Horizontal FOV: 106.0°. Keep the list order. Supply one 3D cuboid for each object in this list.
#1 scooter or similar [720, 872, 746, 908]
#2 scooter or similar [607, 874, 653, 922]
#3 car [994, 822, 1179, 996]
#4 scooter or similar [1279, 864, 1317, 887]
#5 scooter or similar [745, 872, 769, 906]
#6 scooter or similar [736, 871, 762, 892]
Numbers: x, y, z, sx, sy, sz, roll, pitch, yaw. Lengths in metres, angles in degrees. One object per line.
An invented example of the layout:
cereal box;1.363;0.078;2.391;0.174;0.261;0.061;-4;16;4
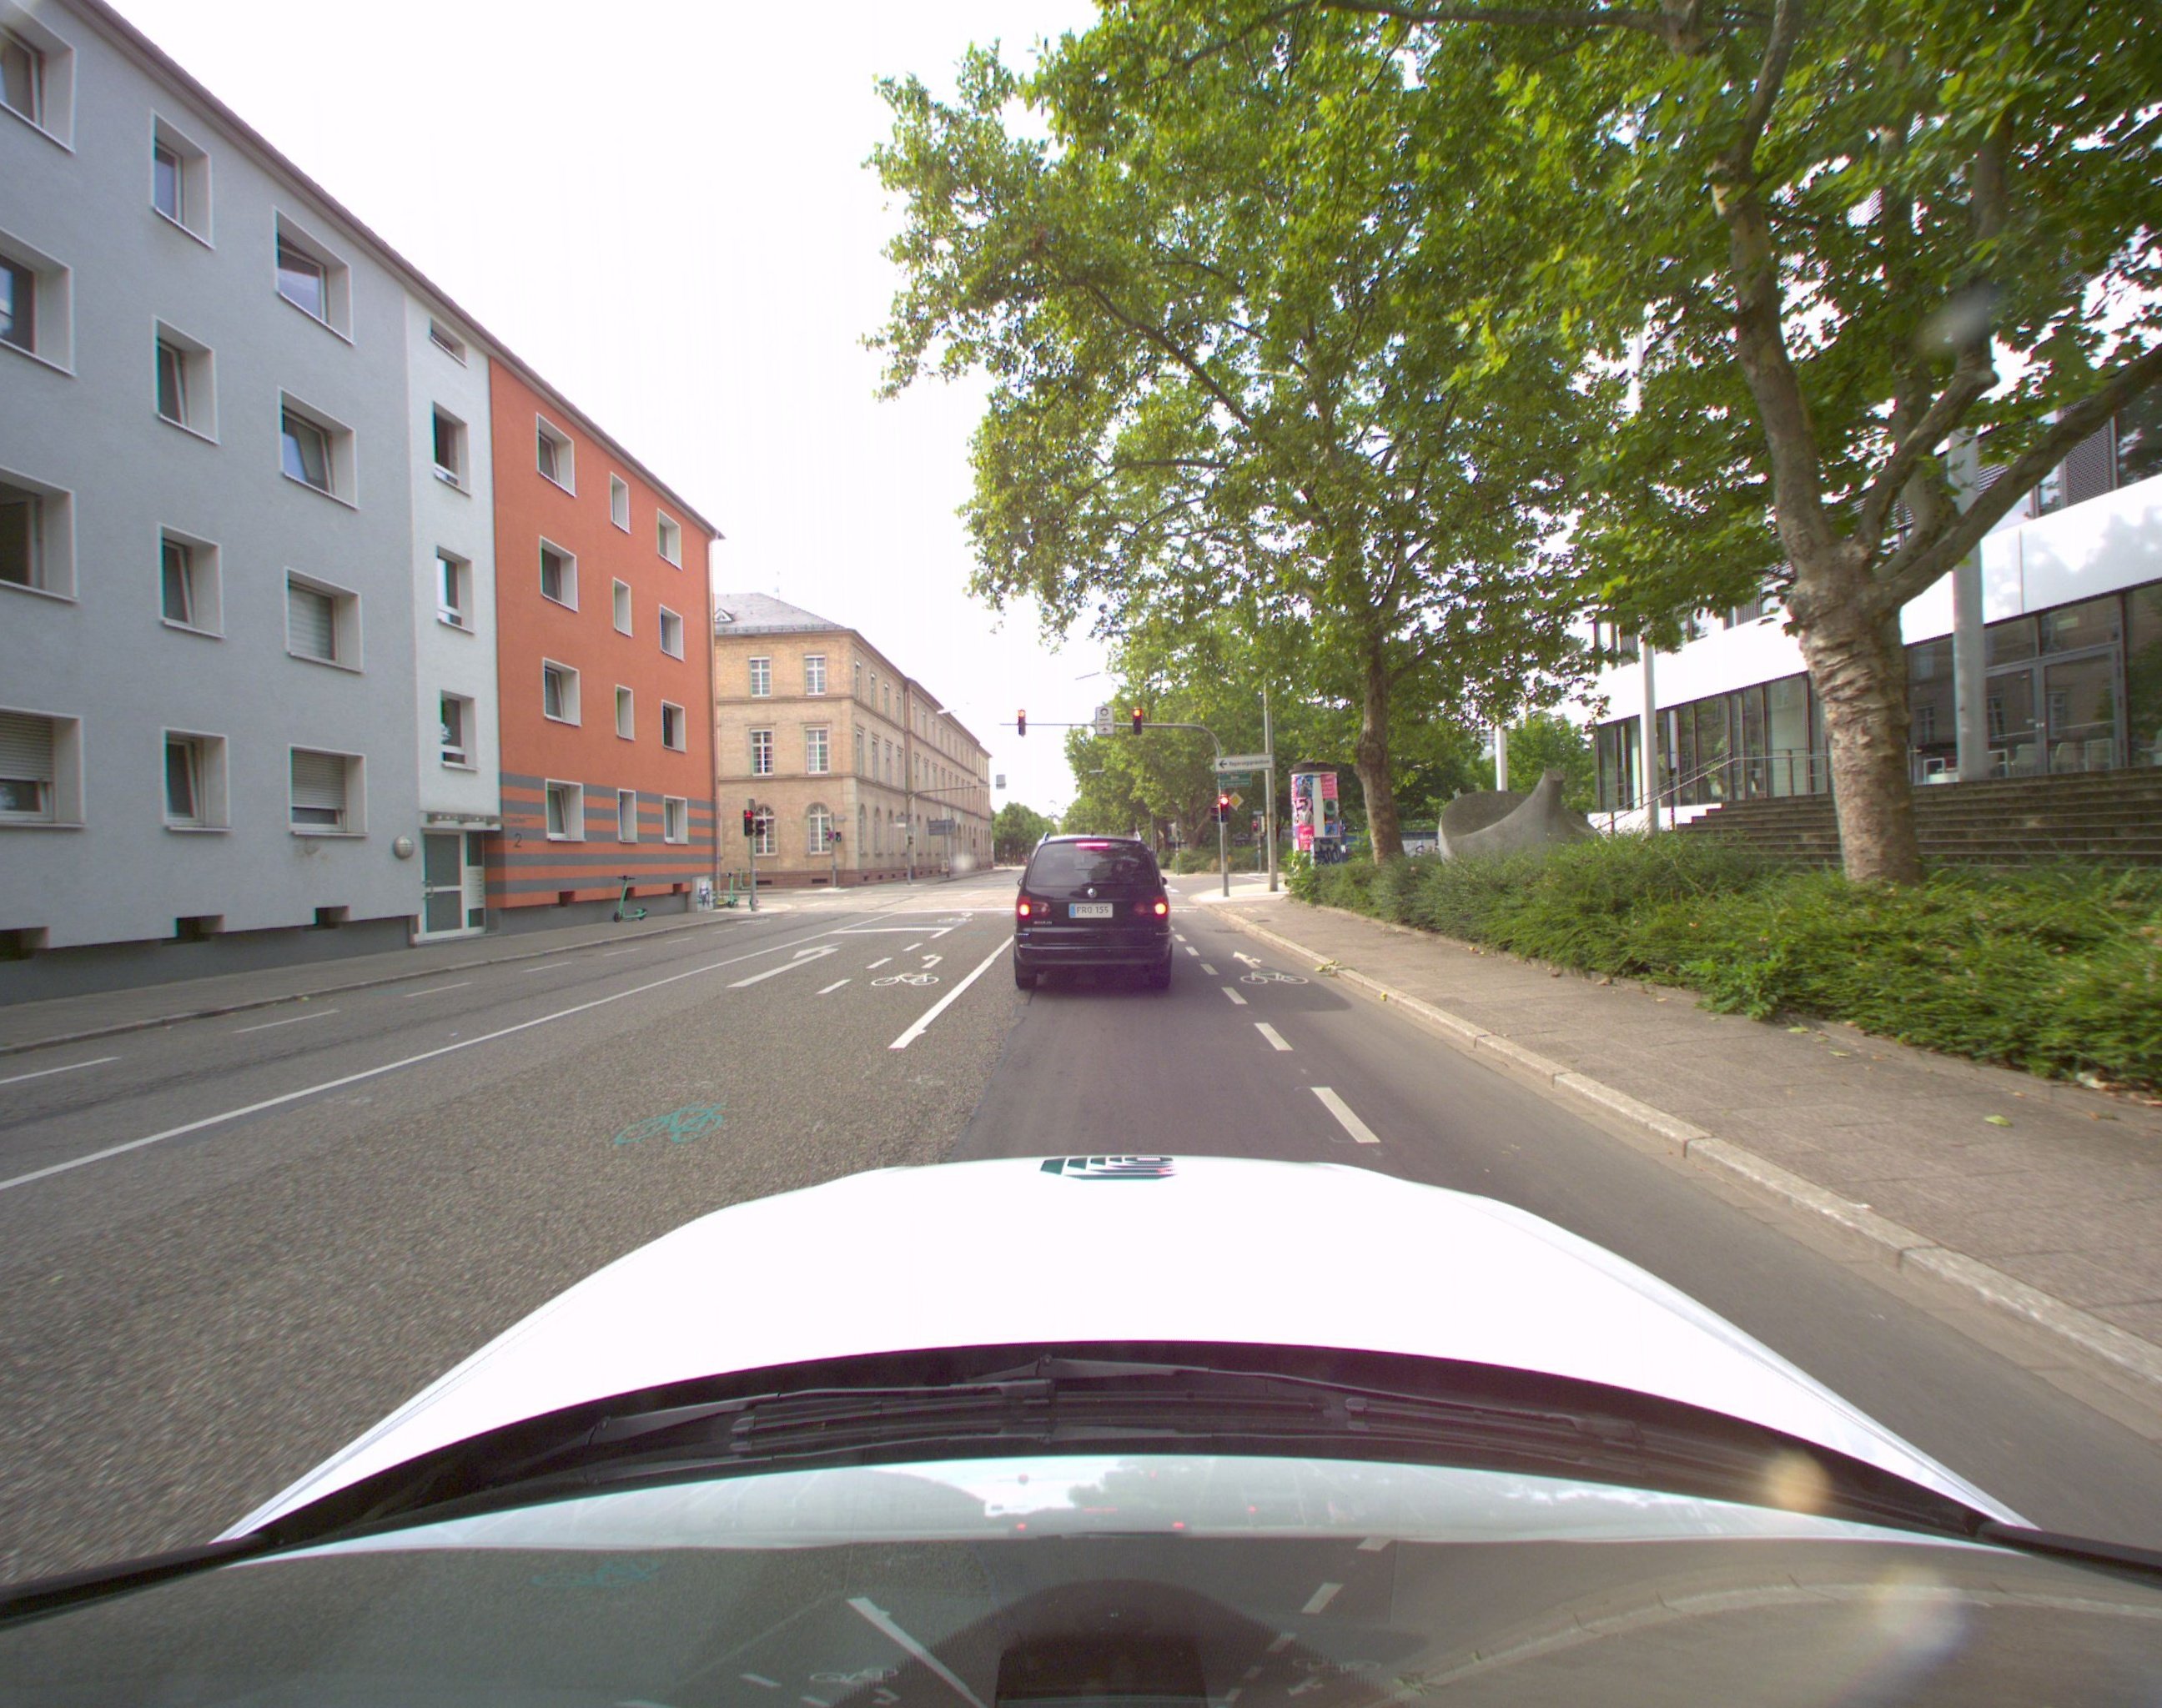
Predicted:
scooter or similar;-11.644;1.198;27.261;0.377;1.147;1.141;-2;-2;-2
scooter or similar;-11.636;1.123;21.043;0.376;1.184;1.390;-2;-2;1
car;0.165;0.564;10.688;1.866;1.745;4.577;-2;0;3
scooter or similar;7.535;0.745;28.287;1.215;0.736;0.369;-2;0;0
scooter or similar;-11.042;1.185;27.797;0.377;1.144;1.141;-2;-2;-2
scooter or similar;-17.412;1.448;42.711;1.134;1.049;0.379;-2;-2;0
